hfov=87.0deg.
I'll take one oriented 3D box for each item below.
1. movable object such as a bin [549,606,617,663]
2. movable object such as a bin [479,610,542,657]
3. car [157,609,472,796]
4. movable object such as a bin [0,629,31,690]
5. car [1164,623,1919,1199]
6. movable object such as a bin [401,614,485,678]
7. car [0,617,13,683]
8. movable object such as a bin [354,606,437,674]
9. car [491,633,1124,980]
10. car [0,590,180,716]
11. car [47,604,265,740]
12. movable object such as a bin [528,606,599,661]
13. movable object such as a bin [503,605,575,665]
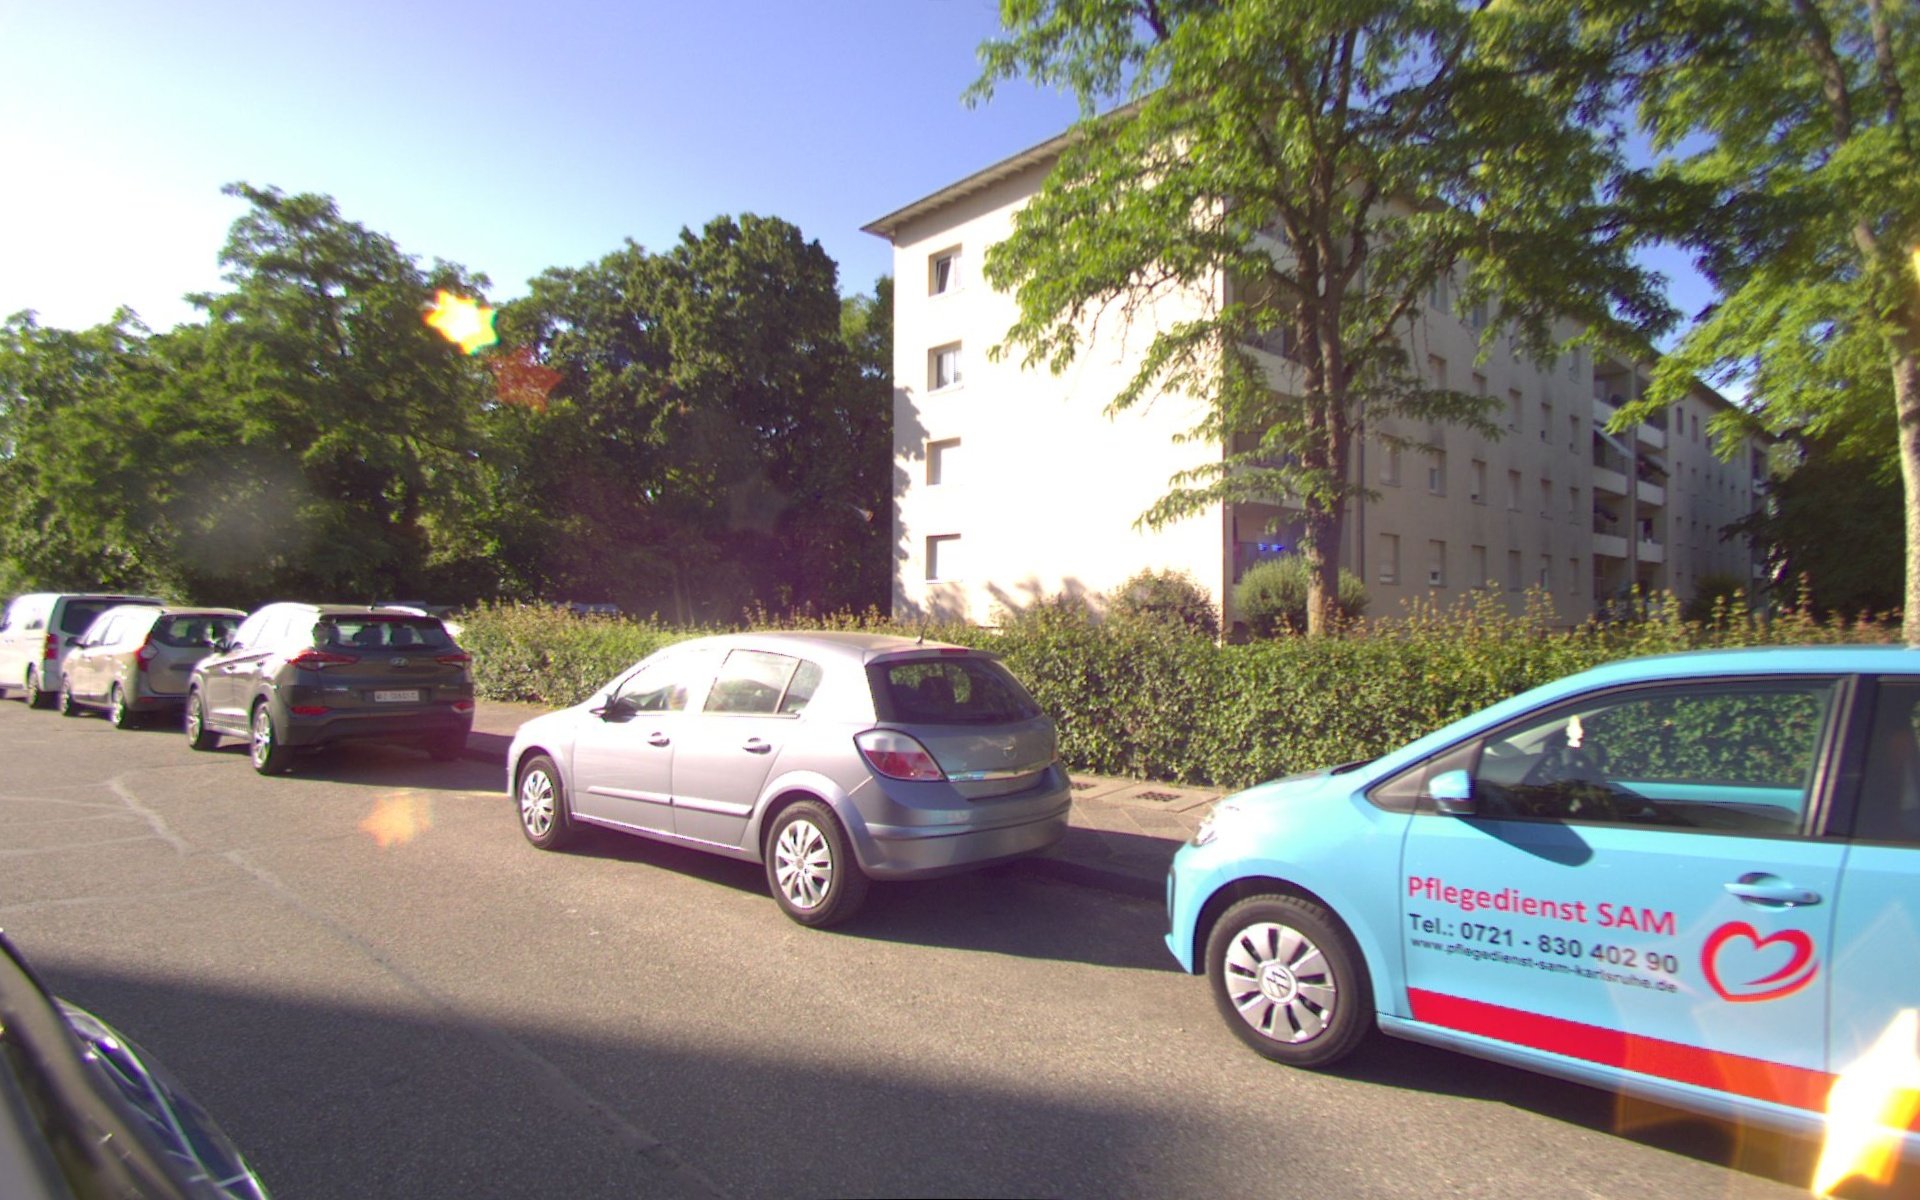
[{"bbox_3d":[-10.173,0.923,27.327,1.278,1.500,1.246,-1,-2,37],"label":"movable object such as a bin"},{"bbox_3d":[-13.612,0.997,30.655,1.509,1.365,1.262,-1,-2,43],"label":"movable object such as a bin"},{"bbox_3d":[-7.101,0.953,10.946,4.361,1.630,1.730,-1,-2,42],"label":"car"},{"bbox_3d":[-21.452,1.326,22.671,1.320,1.326,0.794,-2,-3,42],"label":"movable object such as a bin"},{"bbox_3d":[2.663,0.838,3.096,3.677,1.485,1.652,-1,-3,42],"label":"car"},{"bbox_3d":[-11.826,1.031,23.156,1.259,1.412,1.265,-1,-2,34],"label":"movable object such as a bin"},{"bbox_3d":[-25.962,1.242,25.891,4.241,1.651,1.660,-1,-3,35],"label":"car"},{"bbox_3d":[-13.432,0.940,24.104,1.275,1.563,1.249,-1,-1,30],"label":"movable object such as a bin"},{"bbox_3d":[-1.140,0.963,6.305,3.996,1.448,1.653,-1,-3,40],"label":"car"},{"bbox_3d":[-15.850,0.887,18.029,4.661,1.976,1.847,-1,-2,36],"label":"car"},{"bbox_3d":[-11.920,0.972,14.911,4.334,1.735,1.541,-1,-2,38],"label":"car"},{"bbox_3d":[-11.162,0.924,28.496,1.508,1.500,1.263,-1,-2,39],"label":"movable object such as a bin"},{"bbox_3d":[-10.928,0.888,26.252,1.278,1.500,1.246,-1,-2,37],"label":"movable object such as a bin"}]
